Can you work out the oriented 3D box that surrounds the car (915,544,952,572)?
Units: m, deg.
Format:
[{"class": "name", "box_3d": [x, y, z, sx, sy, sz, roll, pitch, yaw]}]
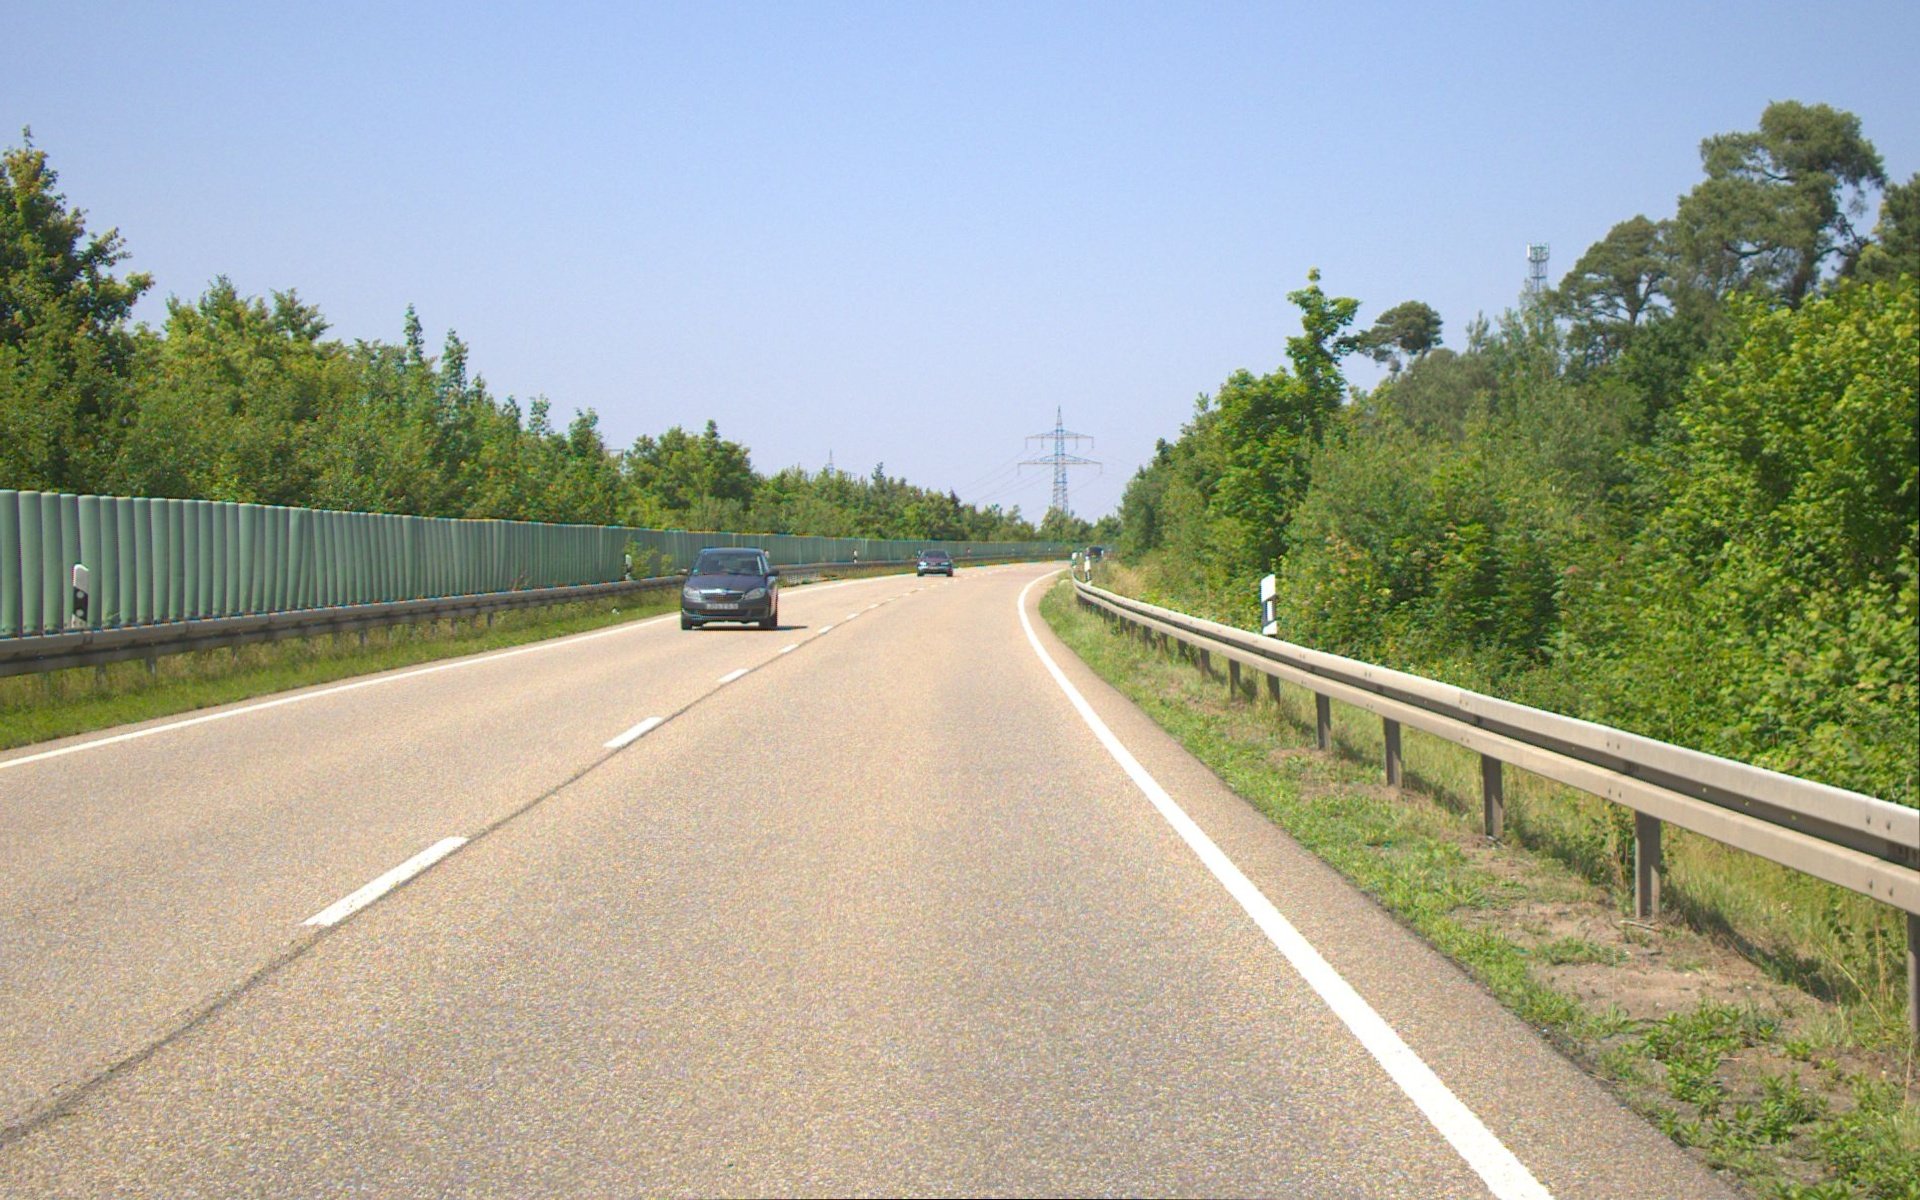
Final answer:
[{"class": "car", "box_3d": [-1.366, -2.194, 178.410, 1.786, 1.367, 3.897, 1, 1, 1]}]

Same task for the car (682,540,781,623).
[{"class": "car", "box_3d": [-4.224, -0.363, 63.857, 1.648, 1.474, 3.677, 0, 1, -1]}]
